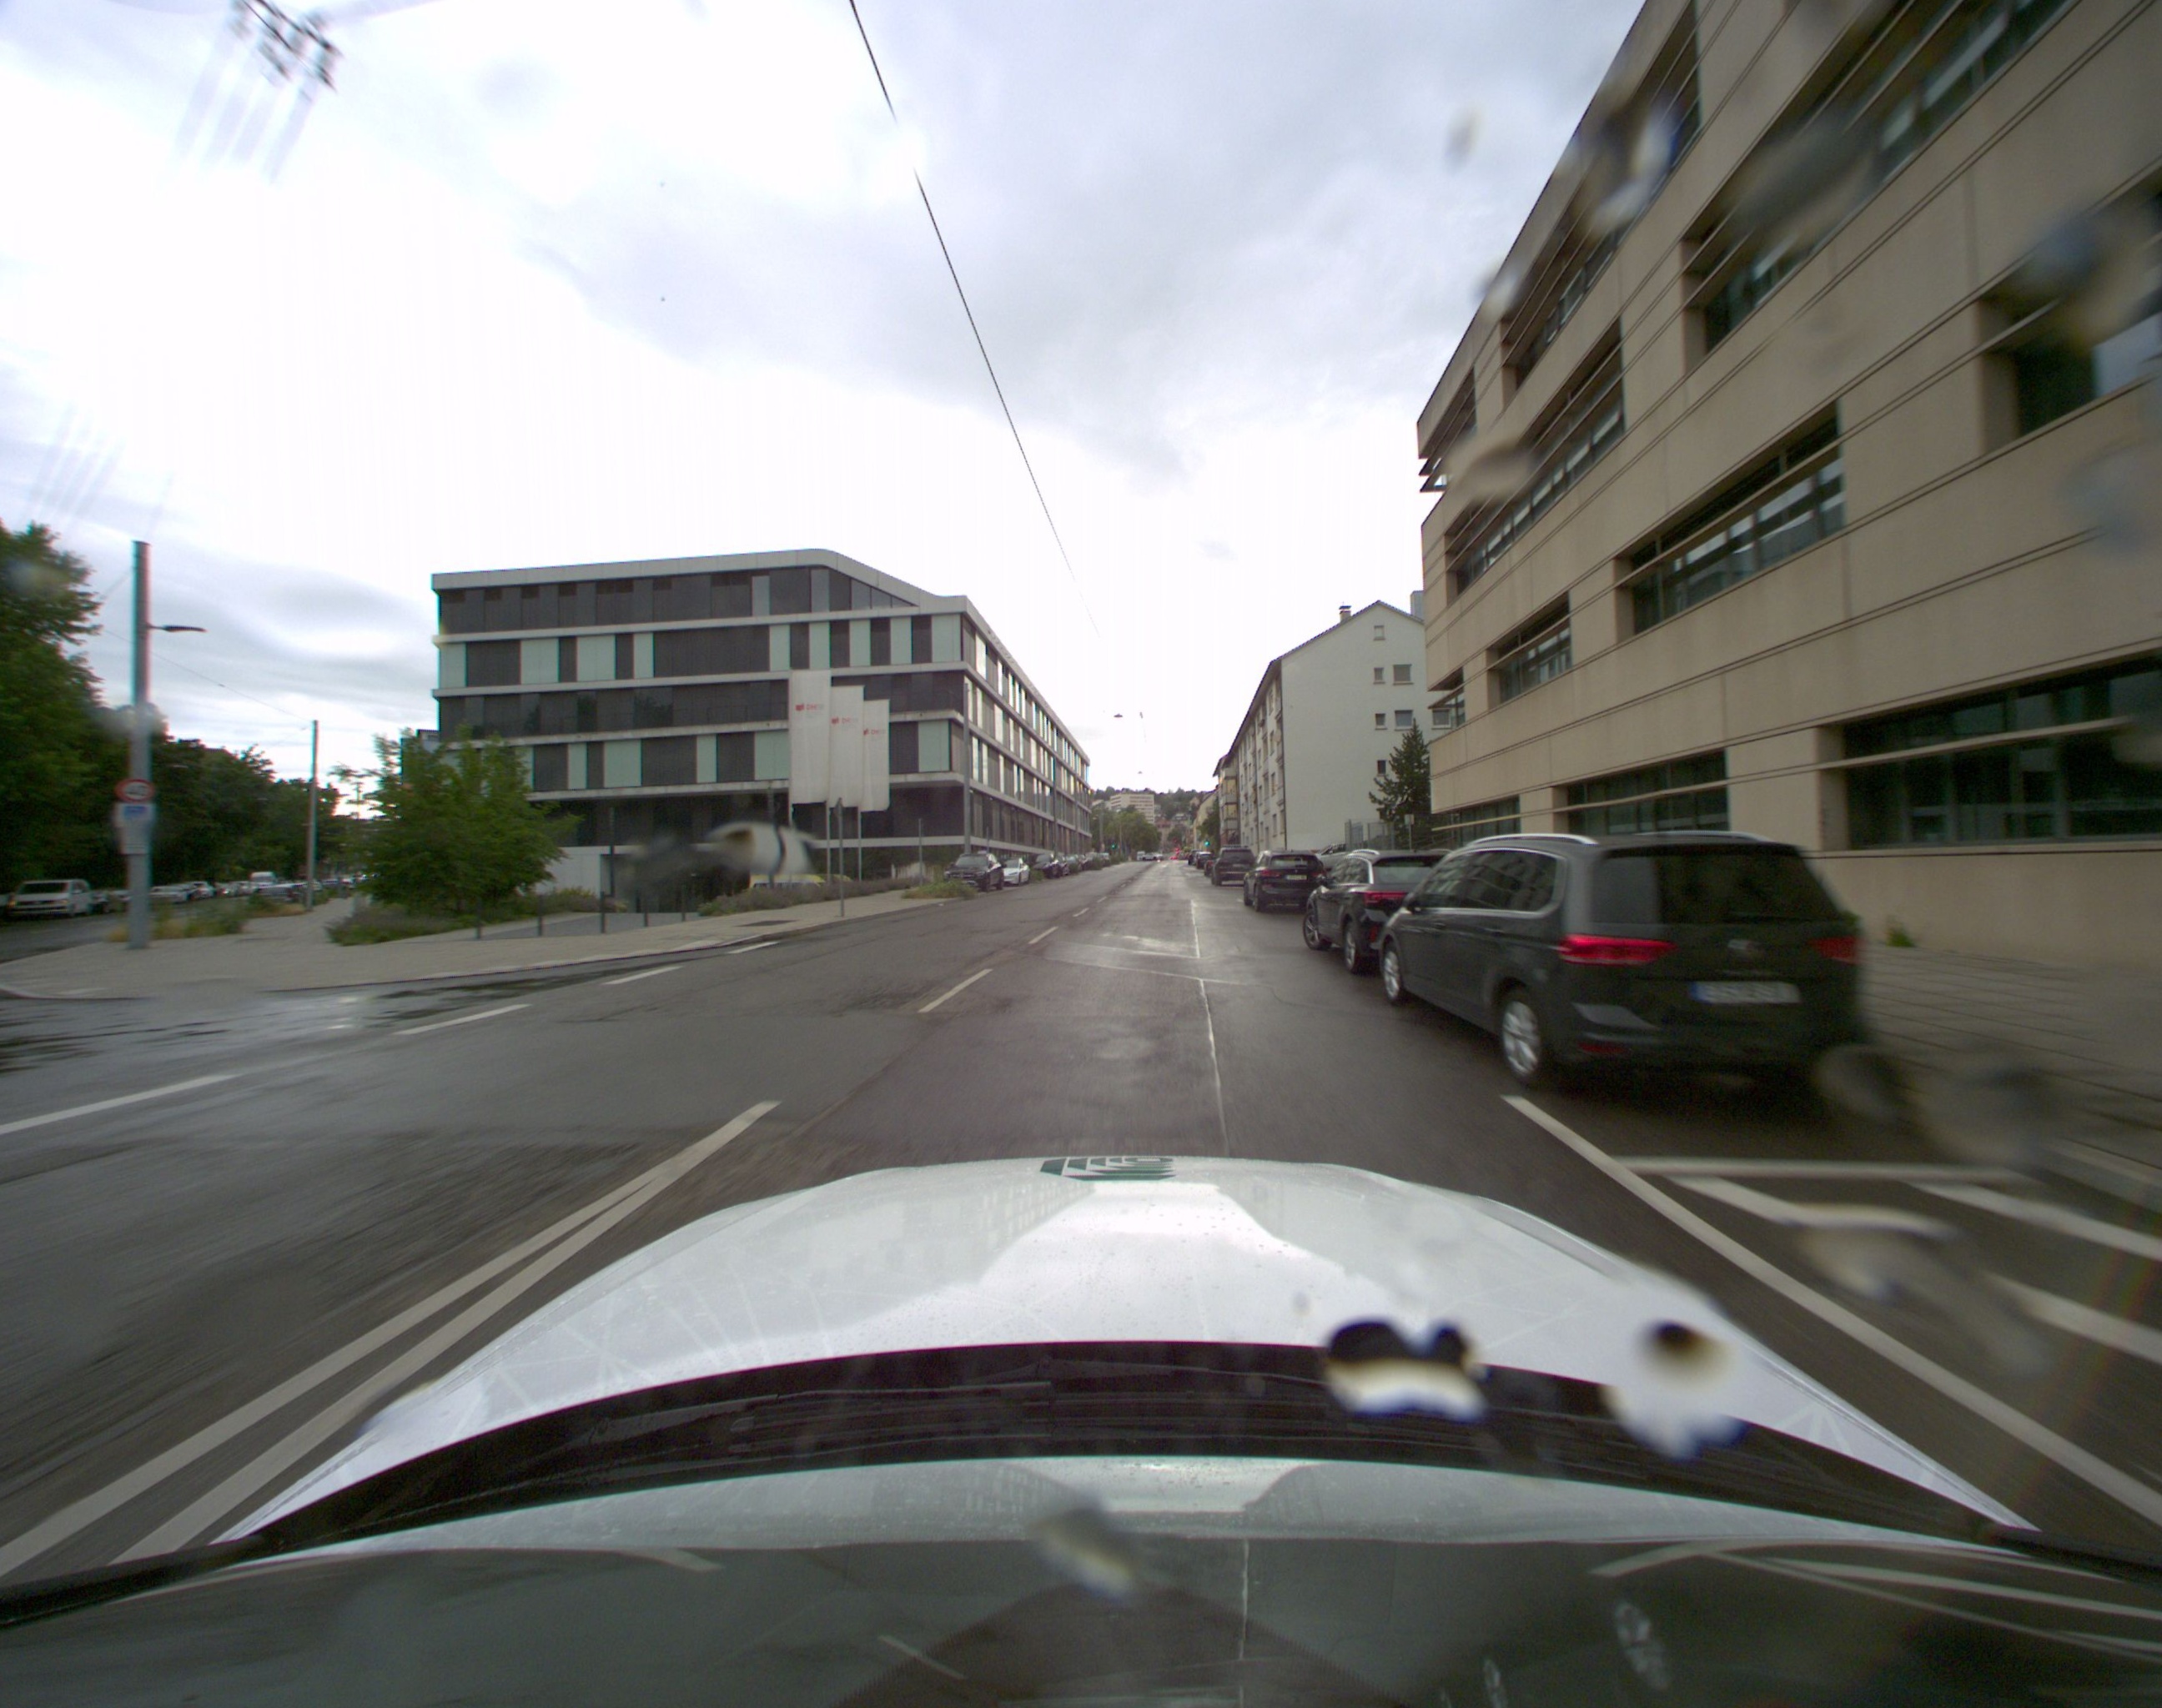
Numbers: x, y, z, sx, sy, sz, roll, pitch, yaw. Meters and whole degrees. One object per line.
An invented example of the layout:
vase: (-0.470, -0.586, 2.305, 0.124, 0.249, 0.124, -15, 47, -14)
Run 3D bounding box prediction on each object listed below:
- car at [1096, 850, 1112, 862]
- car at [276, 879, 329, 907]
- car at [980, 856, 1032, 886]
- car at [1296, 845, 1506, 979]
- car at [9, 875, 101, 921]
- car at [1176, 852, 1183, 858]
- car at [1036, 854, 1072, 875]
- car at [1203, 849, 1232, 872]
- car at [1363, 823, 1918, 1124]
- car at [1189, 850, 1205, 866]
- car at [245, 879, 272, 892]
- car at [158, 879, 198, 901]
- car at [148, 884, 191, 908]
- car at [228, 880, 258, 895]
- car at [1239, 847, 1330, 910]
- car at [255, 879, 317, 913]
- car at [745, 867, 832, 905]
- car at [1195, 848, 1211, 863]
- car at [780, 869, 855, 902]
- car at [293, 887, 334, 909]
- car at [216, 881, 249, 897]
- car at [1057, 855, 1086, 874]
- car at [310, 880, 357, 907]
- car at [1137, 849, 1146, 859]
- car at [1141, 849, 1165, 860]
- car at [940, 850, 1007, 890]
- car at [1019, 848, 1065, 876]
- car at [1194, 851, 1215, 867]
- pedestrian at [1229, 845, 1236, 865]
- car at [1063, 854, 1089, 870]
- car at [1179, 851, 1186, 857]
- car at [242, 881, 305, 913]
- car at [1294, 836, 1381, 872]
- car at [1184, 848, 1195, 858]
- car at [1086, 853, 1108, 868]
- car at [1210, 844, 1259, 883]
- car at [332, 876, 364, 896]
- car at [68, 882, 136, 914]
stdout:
car: (2.855, 0.222, 100.355, 1.586, 1.459, 3.727, -1, 1, 8)
car: (-48.096, 2.393, 50.369, 1.814, 1.588, 3.638, 0, 0, -35)
car: (-3.815, 0.848, 42.233, 1.811, 1.419, 4.410, -1, 0, 6)
car: (4.225, 0.685, 11.435, 1.717, 1.512, 4.064, 1, 0, 6)
car: (-52.363, 2.178, 41.677, 2.182, 2.097, 4.779, 0, -1, -43)
car: (27.050, 0.150, 223.245, 1.856, 1.604, 4.200, -1, 0, 9)
car: (-1.858, 0.722, 58.242, 1.861, 1.472, 4.749, -1, 0, 6)
car: (8.942, 0.436, 53.529, 1.665, 1.460, 3.770, -1, -1, 6)
car: (3.753, 0.644, 6.587, 1.762, 1.604, 4.400, -1, 0, 5)
car: (13.371, 0.395, 93.789, 1.646, 1.738, 4.187, -1, 1, 6)
car: (-100.435, 3.819, 99.513, 2.010, 1.526, 3.953, 0, 0, -41)
car: (-71.450, 2.790, 64.514, 1.756, 1.607, 3.850, 0, -1, -43)
car: (-68.295, 3.144, 61.045, 1.756, 1.607, 3.819, 0, -1, -43)
car: (-94.209, 3.723, 91.590, 2.010, 1.526, 3.953, 0, 0, -41)
car: (5.417, 0.609, 22.150, 1.735, 1.533, 4.325, 0, 0, 5)
car: (-45.202, 2.328, 46.392, 1.929, 1.739, 3.957, 0, 0, -35)
car: (-17.667, 1.899, 49.329, 4.575, 2.174, 1.931, -1, 0, 0)
car: (13.040, 0.199, 87.212, 1.626, 1.571, 3.717, -1, 0, 6)
car: (-17.224, 2.054, 53.347, 4.320, 2.032, 1.601, -1, -1, 6)
car: (-50.235, 2.865, 53.346, 1.487, 1.241, 3.363, 0, 0, -35)
car: (-90.039, 3.660, 86.437, 2.010, 1.526, 3.953, 0, 0, -41)
car: (-0.782, 0.830, 67.544, 1.853, 1.489, 4.355, -1, 0, 6)
car: (-54.443, 2.832, 59.384, 2.008, 1.739, 3.957, 0, 0, -35)
car: (15.035, -0.011, 201.708, 2.095, 2.546, 4.756, -1, 0, 4)
car: (12.379, 0.074, 140.330, 1.650, 1.669, 4.153, 3, -5, -44)
car: (-4.593, 0.670, 35.564, 1.840, 1.617, 4.499, -1, 0, 6)
car: (-2.440, 0.494, 52.310, 1.951, 1.750, 4.954, -1, 0, 9)
car: (11.125, 0.449, 73.300, 1.697, 1.454, 3.991, -1, 0, 6)
pedestrian: (14.273, 0.081, 76.826, 0.635, 1.870, 0.540, -1, -1, 8)
car: (-0.442, 0.744, 73.899, 1.828, 1.396, 4.400, -1, 0, 6)
car: (26.792, 0.096, 215.043, 1.856, 1.604, 4.200, -1, 0, 9)
car: (-41.366, 2.157, 41.808, 1.675, 1.450, 3.826, 0, 0, -35)
car: (14.787, -0.011, 47.087, 4.416, 1.712, 1.908, -4, -1, 5)
car: (19.417, -0.225, 145.251, 1.856, 1.770, 4.200, -1, 0, 9)
car: (1.759, 0.671, 89.467, 1.791, 1.604, 4.245, -1, -1, 9)
car: (7.294, 0.434, 39.078, 1.926, 1.750, 4.805, -1, 0, 6)
car: (-59.020, 2.567, 65.632, 1.448, 1.494, 3.600, -2, 0, -35)
car: (-56.373, 2.485, 46.984, 1.941, 1.607, 4.227, 0, -1, -43)
